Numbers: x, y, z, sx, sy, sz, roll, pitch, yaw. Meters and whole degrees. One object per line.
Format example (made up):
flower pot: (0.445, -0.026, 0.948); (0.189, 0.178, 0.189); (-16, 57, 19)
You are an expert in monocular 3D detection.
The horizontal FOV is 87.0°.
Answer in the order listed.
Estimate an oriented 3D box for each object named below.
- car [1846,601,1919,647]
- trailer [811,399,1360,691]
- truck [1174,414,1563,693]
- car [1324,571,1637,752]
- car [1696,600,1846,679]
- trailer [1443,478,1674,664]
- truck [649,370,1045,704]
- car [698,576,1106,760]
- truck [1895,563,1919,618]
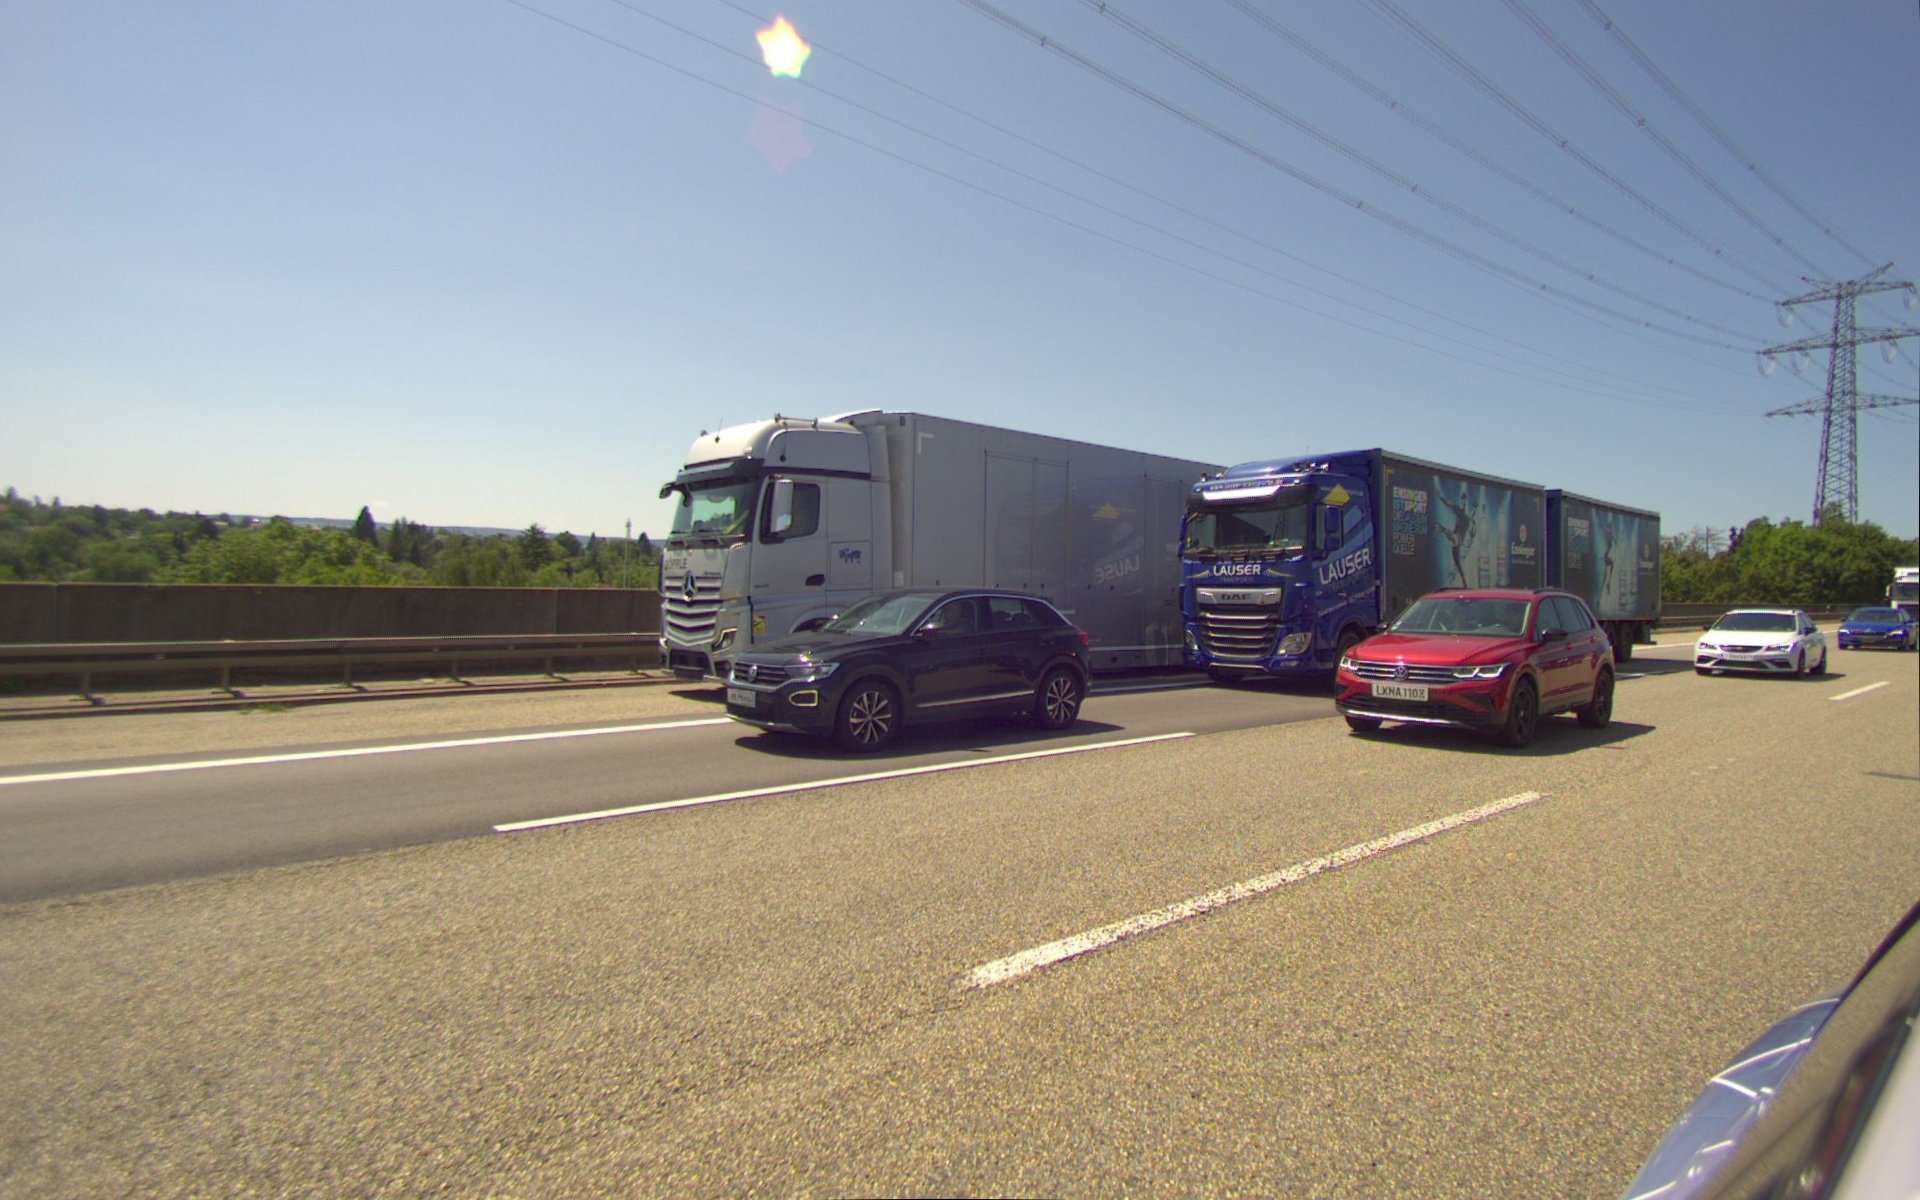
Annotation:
car: (31.996, 0.775, 34.763); (4.135, 1.463, 1.739); (0, 1, -40)
trailer: (3.444, -0.782, 19.970); (13.535, 4.172, 2.539); (0, 0, -42)
truck: (8.258, -0.695, 19.306); (10.265, 4.118, 2.527); (0, 0, -41)
car: (6.007, 0.558, 11.470); (4.151, 1.683, 1.778); (0, 1, -42)
car: (17.350, 0.759, 21.589); (4.001, 1.508, 1.841); (0, 0, -41)
trailer: (15.261, -0.608, 25.453); (8.331, 3.995, 2.570); (0, 0, -41)
truck: (-1.547, -0.800, 15.484); (5.617, 4.172, 2.520); (0, 0, -42)
car: (-0.466, 0.568, 10.526); (4.034, 1.546, 1.739); (0, 0, -41)
truck: (67.013, -0.649, 69.511); (10.777, 3.604, 2.982); (0, 0, -41)
